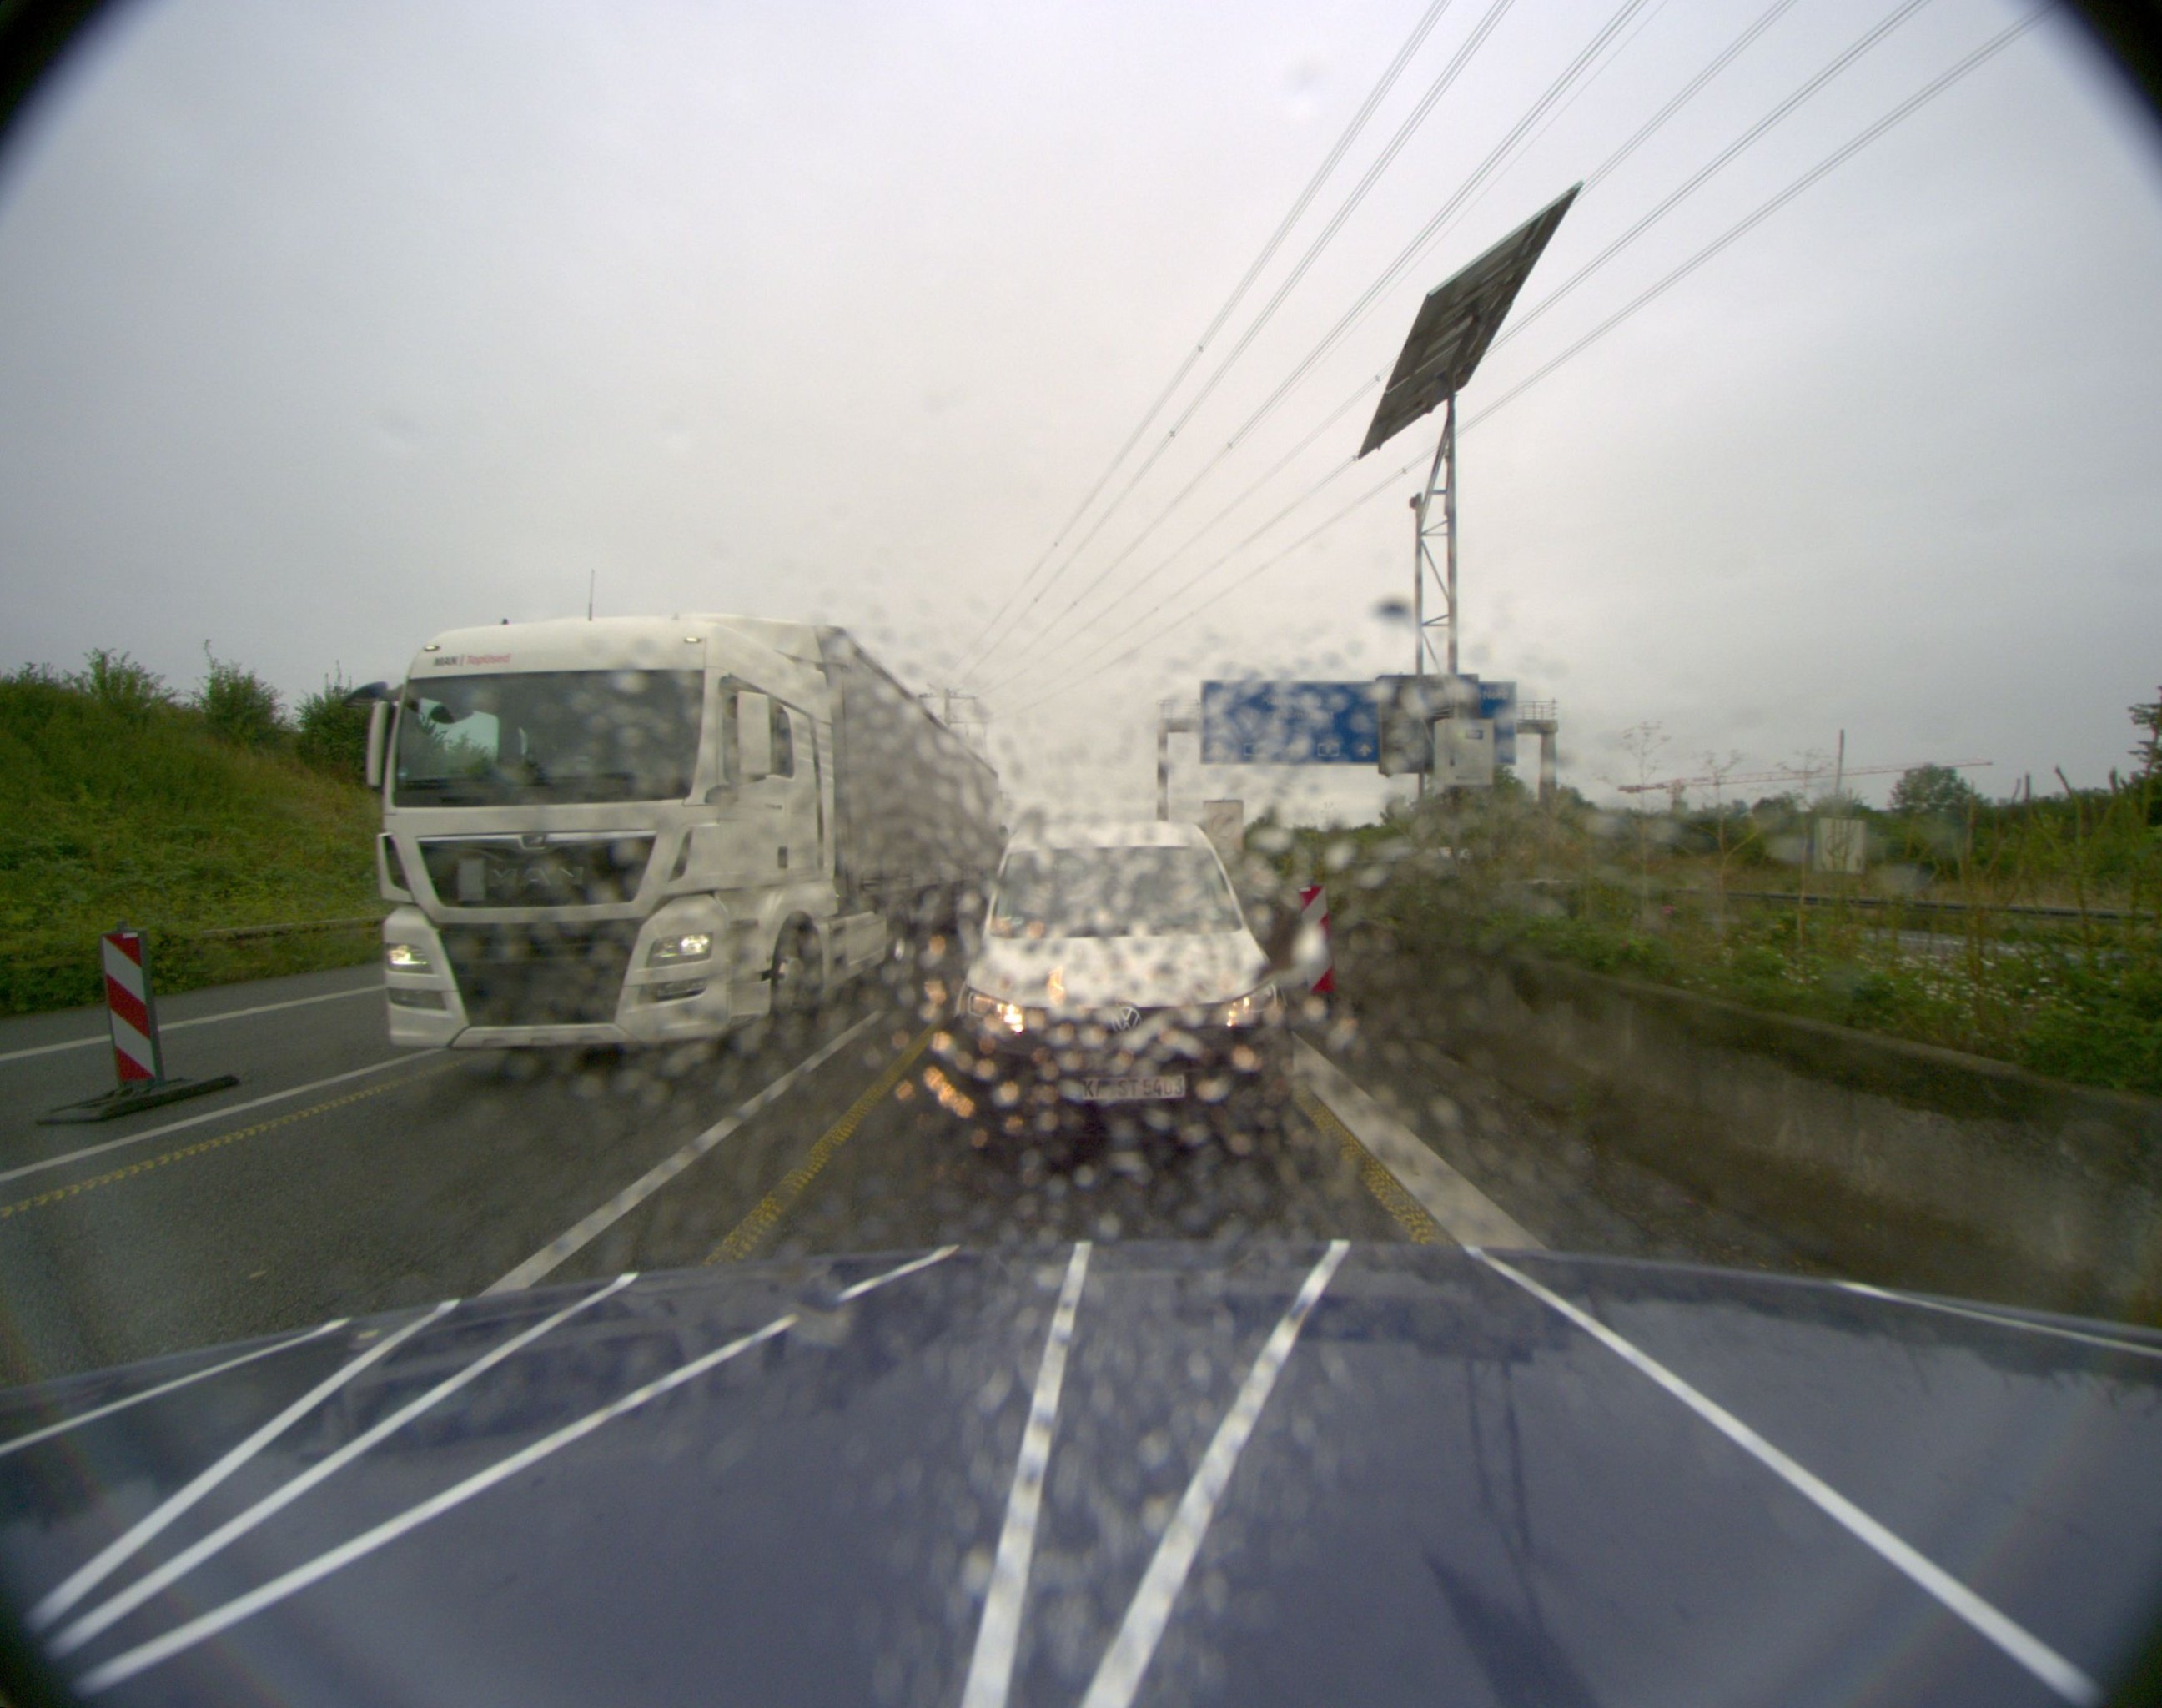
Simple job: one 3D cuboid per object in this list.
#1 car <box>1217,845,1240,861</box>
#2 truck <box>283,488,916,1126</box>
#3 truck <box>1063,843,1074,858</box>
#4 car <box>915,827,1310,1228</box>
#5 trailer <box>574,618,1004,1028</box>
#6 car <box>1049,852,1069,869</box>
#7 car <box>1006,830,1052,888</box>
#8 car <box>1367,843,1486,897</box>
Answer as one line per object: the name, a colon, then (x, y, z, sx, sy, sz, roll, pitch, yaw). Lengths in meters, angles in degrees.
car: (19.327, -0.106, 99.679, 1.998, 2.002, 5.059, -1, 0, 1)
truck: (-3.771, -0.300, 7.829, 2.713, 4.114, 5.690, -1, 0, 1)
truck: (-3.442, -0.981, 212.790, 2.875, 4.007, 8.309, -1, 0, 1)
car: (0.174, 0.796, 5.657, 1.768, 1.803, 4.345, -1, 0, 1)
trailer: (-3.671, -0.334, 14.632, 2.713, 4.122, 13.731, -1, 0, 1)
car: (-2.131, 0.611, 74.226, 1.804, 1.523, 4.149, -1, 0, -1)
car: (-2.636, 0.228, 39.760, 1.998, 2.766, 5.756, -1, 0, 0)
car: (12.226, 0.520, 27.330, 1.998, 1.716, 5.059, -1, 0, 1)
